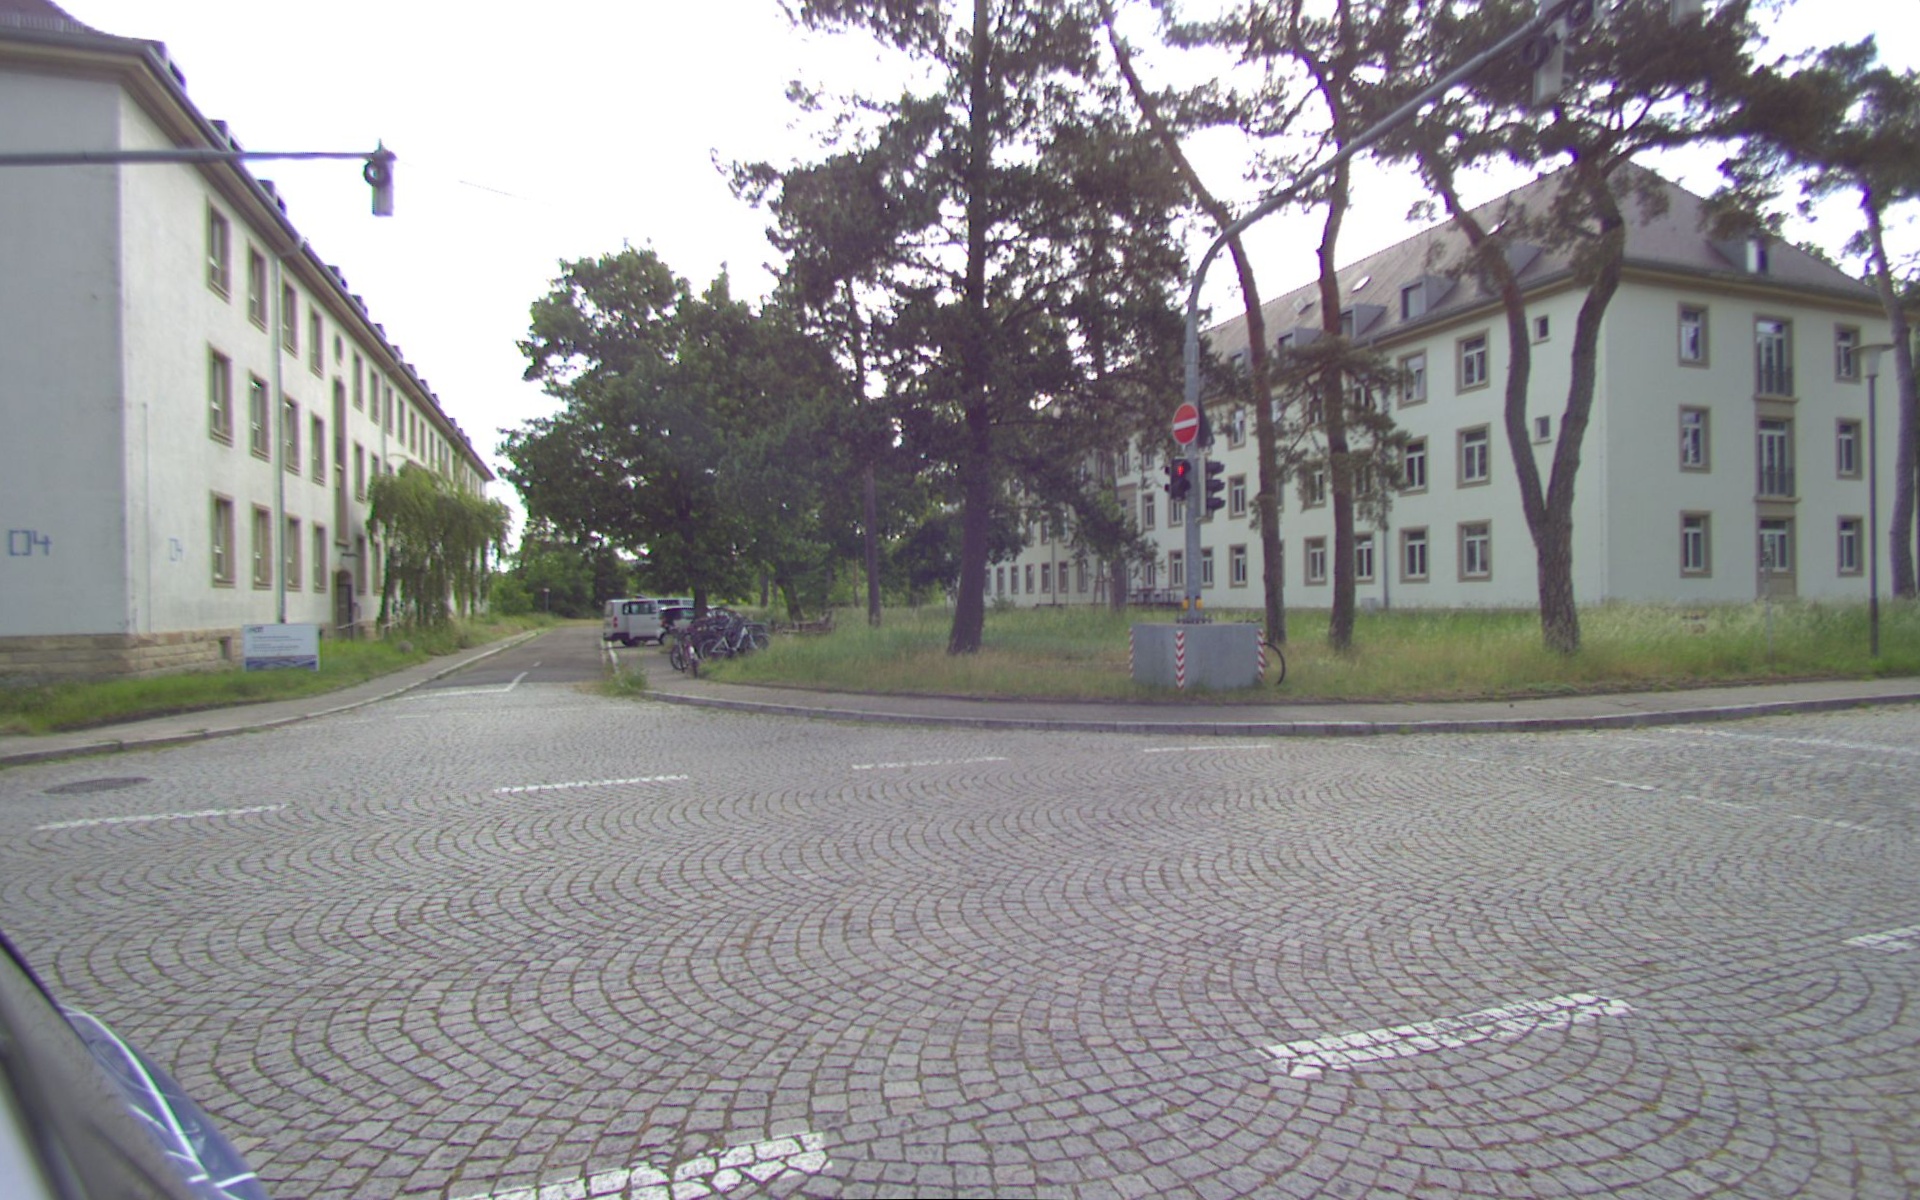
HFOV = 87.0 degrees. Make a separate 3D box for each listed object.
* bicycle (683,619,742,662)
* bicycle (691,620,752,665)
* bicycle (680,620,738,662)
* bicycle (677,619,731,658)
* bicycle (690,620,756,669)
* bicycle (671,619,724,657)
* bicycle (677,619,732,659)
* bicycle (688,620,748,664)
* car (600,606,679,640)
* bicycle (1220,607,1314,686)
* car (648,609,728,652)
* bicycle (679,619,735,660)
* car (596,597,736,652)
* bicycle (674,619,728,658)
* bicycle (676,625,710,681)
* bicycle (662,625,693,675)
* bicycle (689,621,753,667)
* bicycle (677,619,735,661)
[{"bbox_3d":[-6.722,1.091,27.488,1.432,1.046,0.499,-4,1,-25],"label":"bicycle"},{"bbox_3d":[-6.195,1.102,26.316,1.432,1.046,0.499,-4,1,-25],"label":"bicycle"},{"bbox_3d":[-6.912,1.124,27.918,1.432,1.046,0.499,-4,1,-25],"label":"bicycle"},{"bbox_3d":[-7.569,1.124,29.966,1.432,1.046,0.499,-4,1,-25],"label":"bicycle"},{"bbox_3d":[-5.747,1.068,24.527,1.432,1.046,0.499,-4,1,-27],"label":"bicycle"},{"bbox_3d":[-8.004,1.151,30.871,1.432,1.046,0.499,-4,1,-25],"label":"bicycle"},{"bbox_3d":[-7.445,1.118,29.448,1.432,1.046,0.499,-4,1,-25],"label":"bicycle"},{"bbox_3d":[-6.422,1.100,26.858,1.432,1.046,0.499,-4,1,-25],"label":"bicycle"},{"bbox_3d":[-18.288,1.287,57.801,4.022,1.780,1.837,-1,1,-28],"label":"car"},{"bbox_3d":[4.550,0.668,15.071,0.489,1.082,1.421,-4,1,-23],"label":"bicycle"},{"bbox_3d":[-10.378,1.156,38.609,2.726,1.426,1.597,-3,0,-20],"label":"car"},{"bbox_3d":[-7.239,1.120,28.999,1.432,1.046,0.499,-4,1,-25],"label":"bicycle"},{"bbox_3d":[-12.050,0.971,41.573,5.085,1.931,2.041,-3,0,-33],"label":"car"},{"bbox_3d":[-7.791,1.141,30.442,1.432,1.046,0.499,-4,1,-25],"label":"bicycle"},{"bbox_3d":[-5.652,1.092,21.371,0.489,1.082,1.421,-4,1,-20],"label":"bicycle"},{"bbox_3d":[-6.374,1.107,22.824,0.489,1.046,1.421,-4,1,-20],"label":"bicycle"},{"bbox_3d":[-5.961,1.088,25.298,1.432,1.046,0.499,-4,1,-25],"label":"bicycle"},{"bbox_3d":[-7.120,1.117,28.368,1.432,1.046,0.499,-4,1,-25],"label":"bicycle"}]
